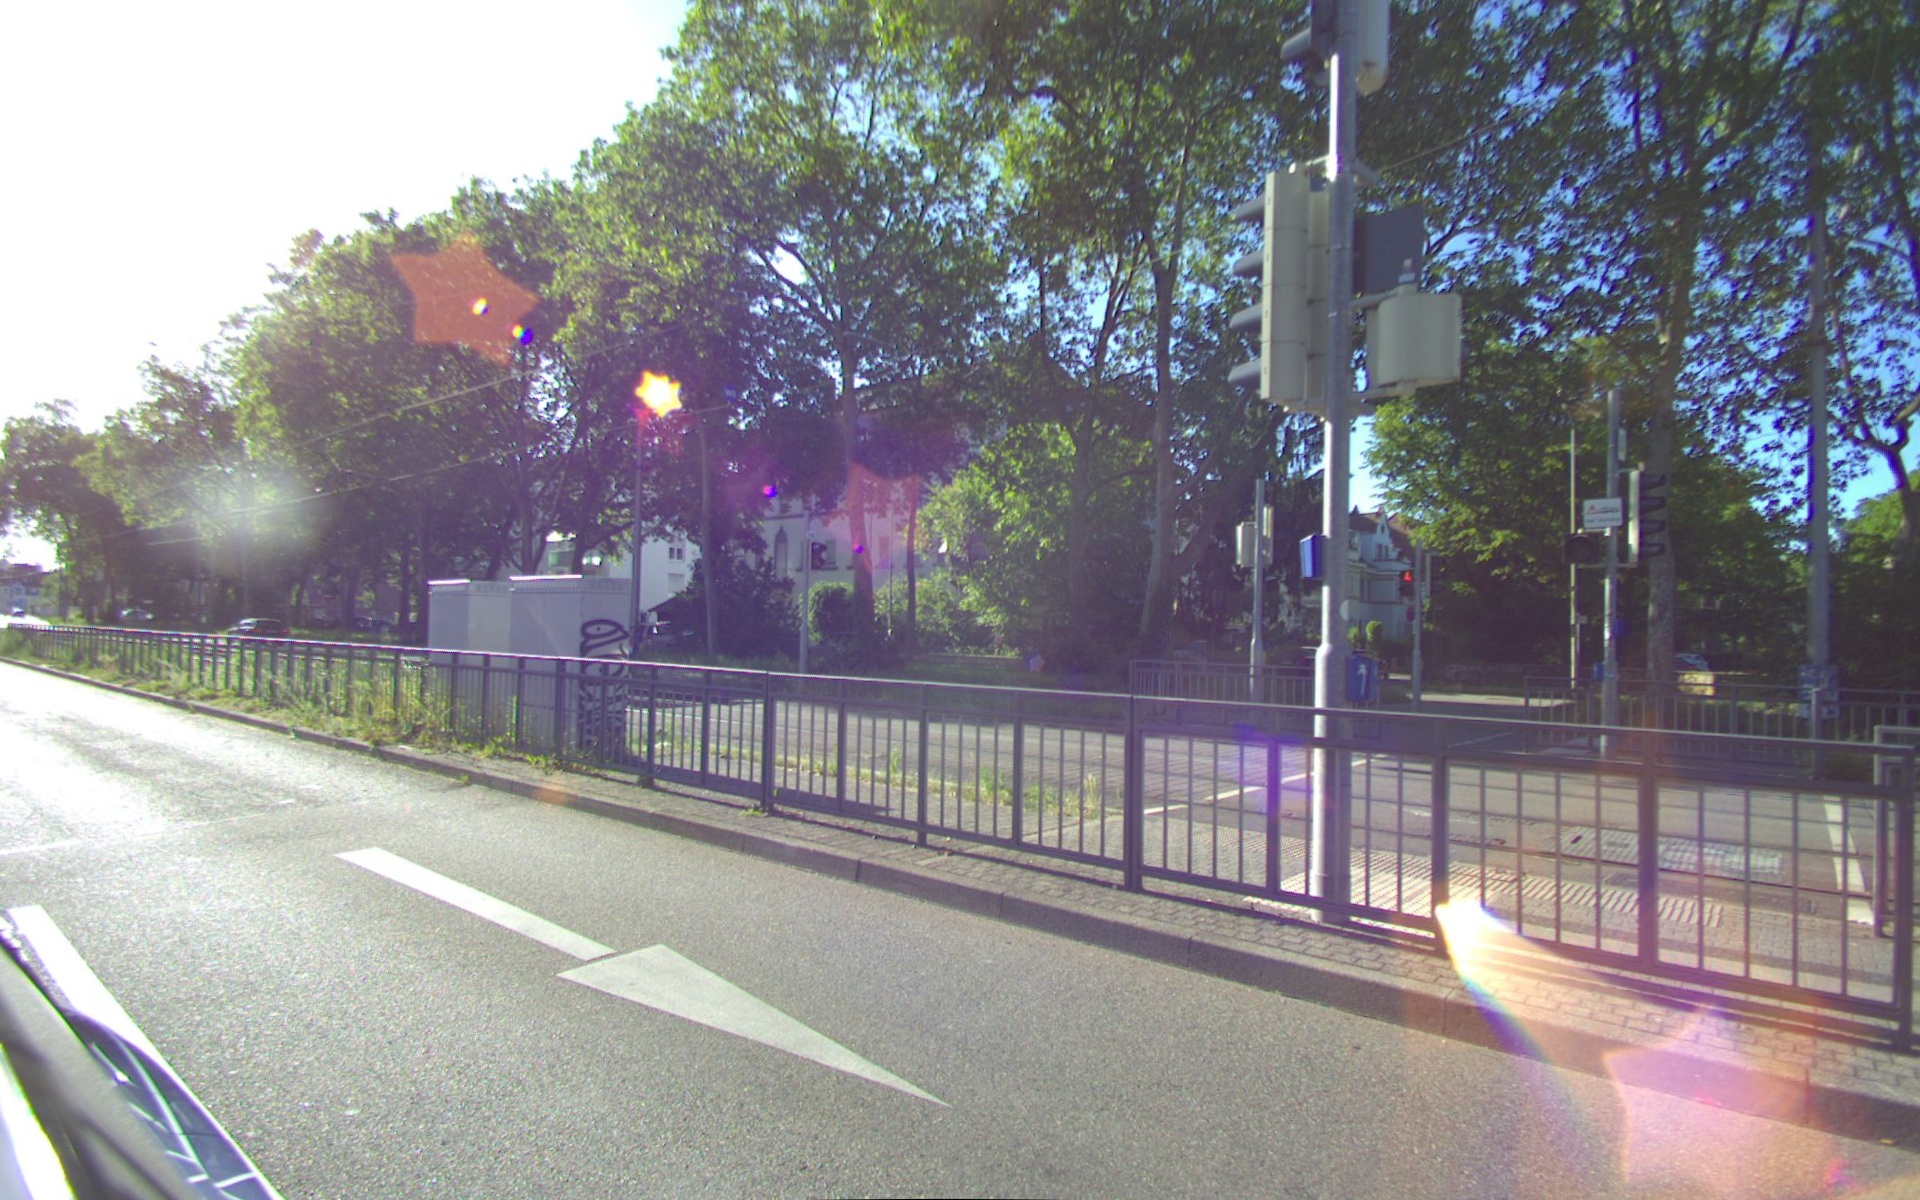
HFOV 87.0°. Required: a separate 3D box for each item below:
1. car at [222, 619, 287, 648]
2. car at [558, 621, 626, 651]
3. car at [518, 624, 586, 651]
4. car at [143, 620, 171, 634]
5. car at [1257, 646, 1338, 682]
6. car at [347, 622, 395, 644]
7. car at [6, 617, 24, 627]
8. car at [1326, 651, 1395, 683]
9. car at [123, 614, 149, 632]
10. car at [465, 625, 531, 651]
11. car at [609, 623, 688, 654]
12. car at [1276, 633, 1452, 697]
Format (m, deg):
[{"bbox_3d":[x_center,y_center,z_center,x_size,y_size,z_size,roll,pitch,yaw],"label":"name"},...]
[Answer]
[{"bbox_3d":[-38.157,1.791,54.699,4.337,1.510,1.667,-1,-2,38],"label":"car"},{"bbox_3d":[-19.242,1.877,52.817,3.696,1.476,1.756,-1,-3,41],"label":"car"},{"bbox_3d":[-22.582,2.051,55.988,4.459,1.334,1.623,-1,-4,41],"label":"car"},{"bbox_3d":[-87.135,2.903,109.805,3.686,1.497,1.748,-1,-2,41],"label":"car"},{"bbox_3d":[14.577,2.731,43.597,1.999,1.429,3.945,-1,-2,41],"label":"car"},{"bbox_3d":[-42.265,2.371,72.610,3.998,1.484,1.778,-1,-2,41],"label":"car"},{"bbox_3d":[-172.201,4.010,184.453,4.456,1.660,1.839,-1,-2,39],"label":"car"},{"bbox_3d":[19.716,3.266,49.754,1.999,1.429,3.945,-1,-2,41],"label":"car"},{"bbox_3d":[-94.907,2.613,116.593,1.971,2.029,4.002,0,-1,-45],"label":"car"},{"bbox_3d":[-27.661,2.279,60.508,4.317,1.464,1.972,-1,-3,41],"label":"car"},{"bbox_3d":[-15.385,1.887,49.837,4.317,1.451,1.717,-1,-3,41],"label":"car"},{"bbox_3d":[10.831,1.693,27.281,4.141,1.521,1.652,-1,-2,40],"label":"car"}]
